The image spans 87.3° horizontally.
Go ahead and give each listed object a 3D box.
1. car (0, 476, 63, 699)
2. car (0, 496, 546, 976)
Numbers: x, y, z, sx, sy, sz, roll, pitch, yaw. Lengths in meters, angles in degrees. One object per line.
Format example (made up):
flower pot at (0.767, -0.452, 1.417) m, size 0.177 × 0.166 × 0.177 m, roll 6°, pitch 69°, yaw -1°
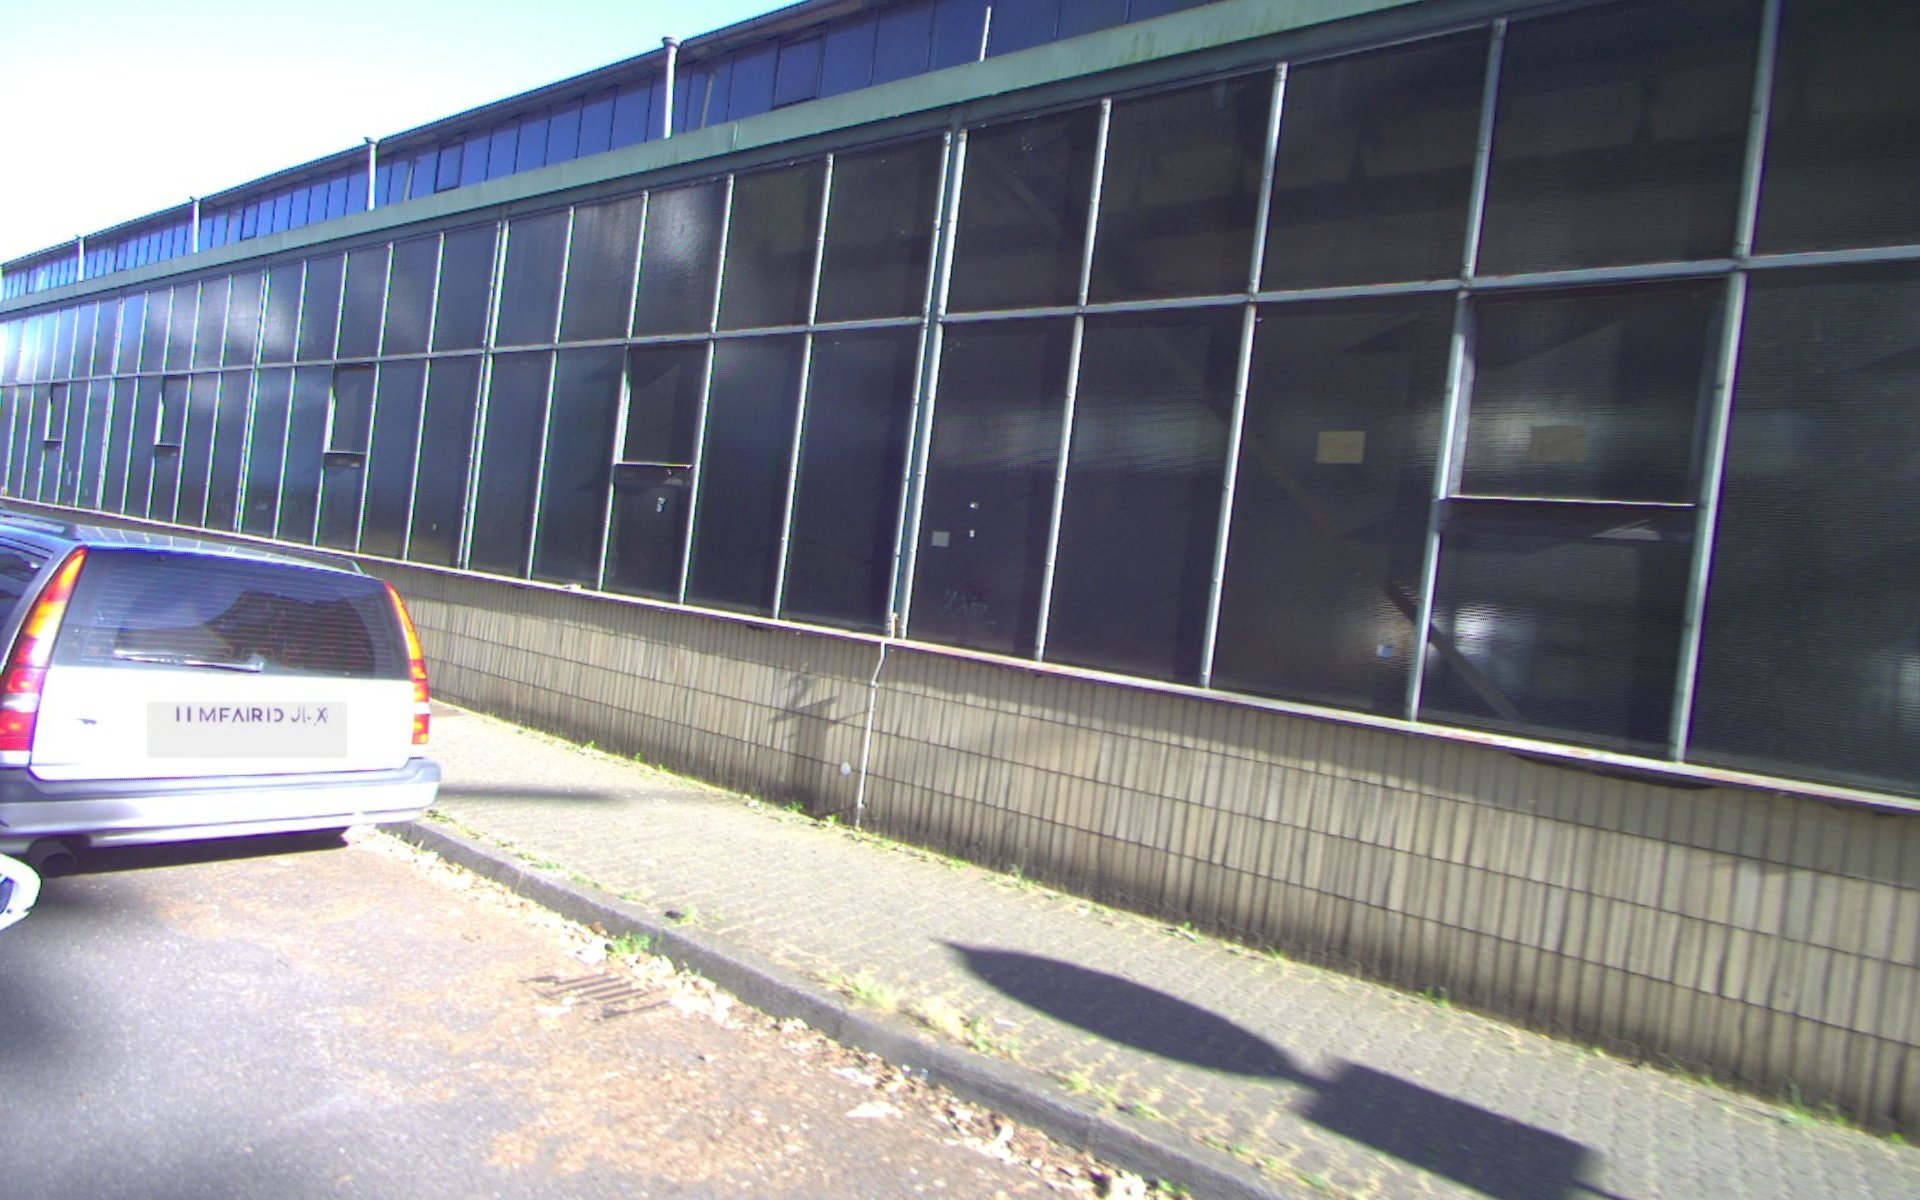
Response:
car at (-9.218, -0.340, 8.227) m, size 4.241 × 1.654 × 1.752 m, roll 6°, pitch -1°, yaw 35°
car at (-4.387, 0.313, 5.095) m, size 4.455 × 1.511 × 1.903 m, roll 6°, pitch -2°, yaw 33°
